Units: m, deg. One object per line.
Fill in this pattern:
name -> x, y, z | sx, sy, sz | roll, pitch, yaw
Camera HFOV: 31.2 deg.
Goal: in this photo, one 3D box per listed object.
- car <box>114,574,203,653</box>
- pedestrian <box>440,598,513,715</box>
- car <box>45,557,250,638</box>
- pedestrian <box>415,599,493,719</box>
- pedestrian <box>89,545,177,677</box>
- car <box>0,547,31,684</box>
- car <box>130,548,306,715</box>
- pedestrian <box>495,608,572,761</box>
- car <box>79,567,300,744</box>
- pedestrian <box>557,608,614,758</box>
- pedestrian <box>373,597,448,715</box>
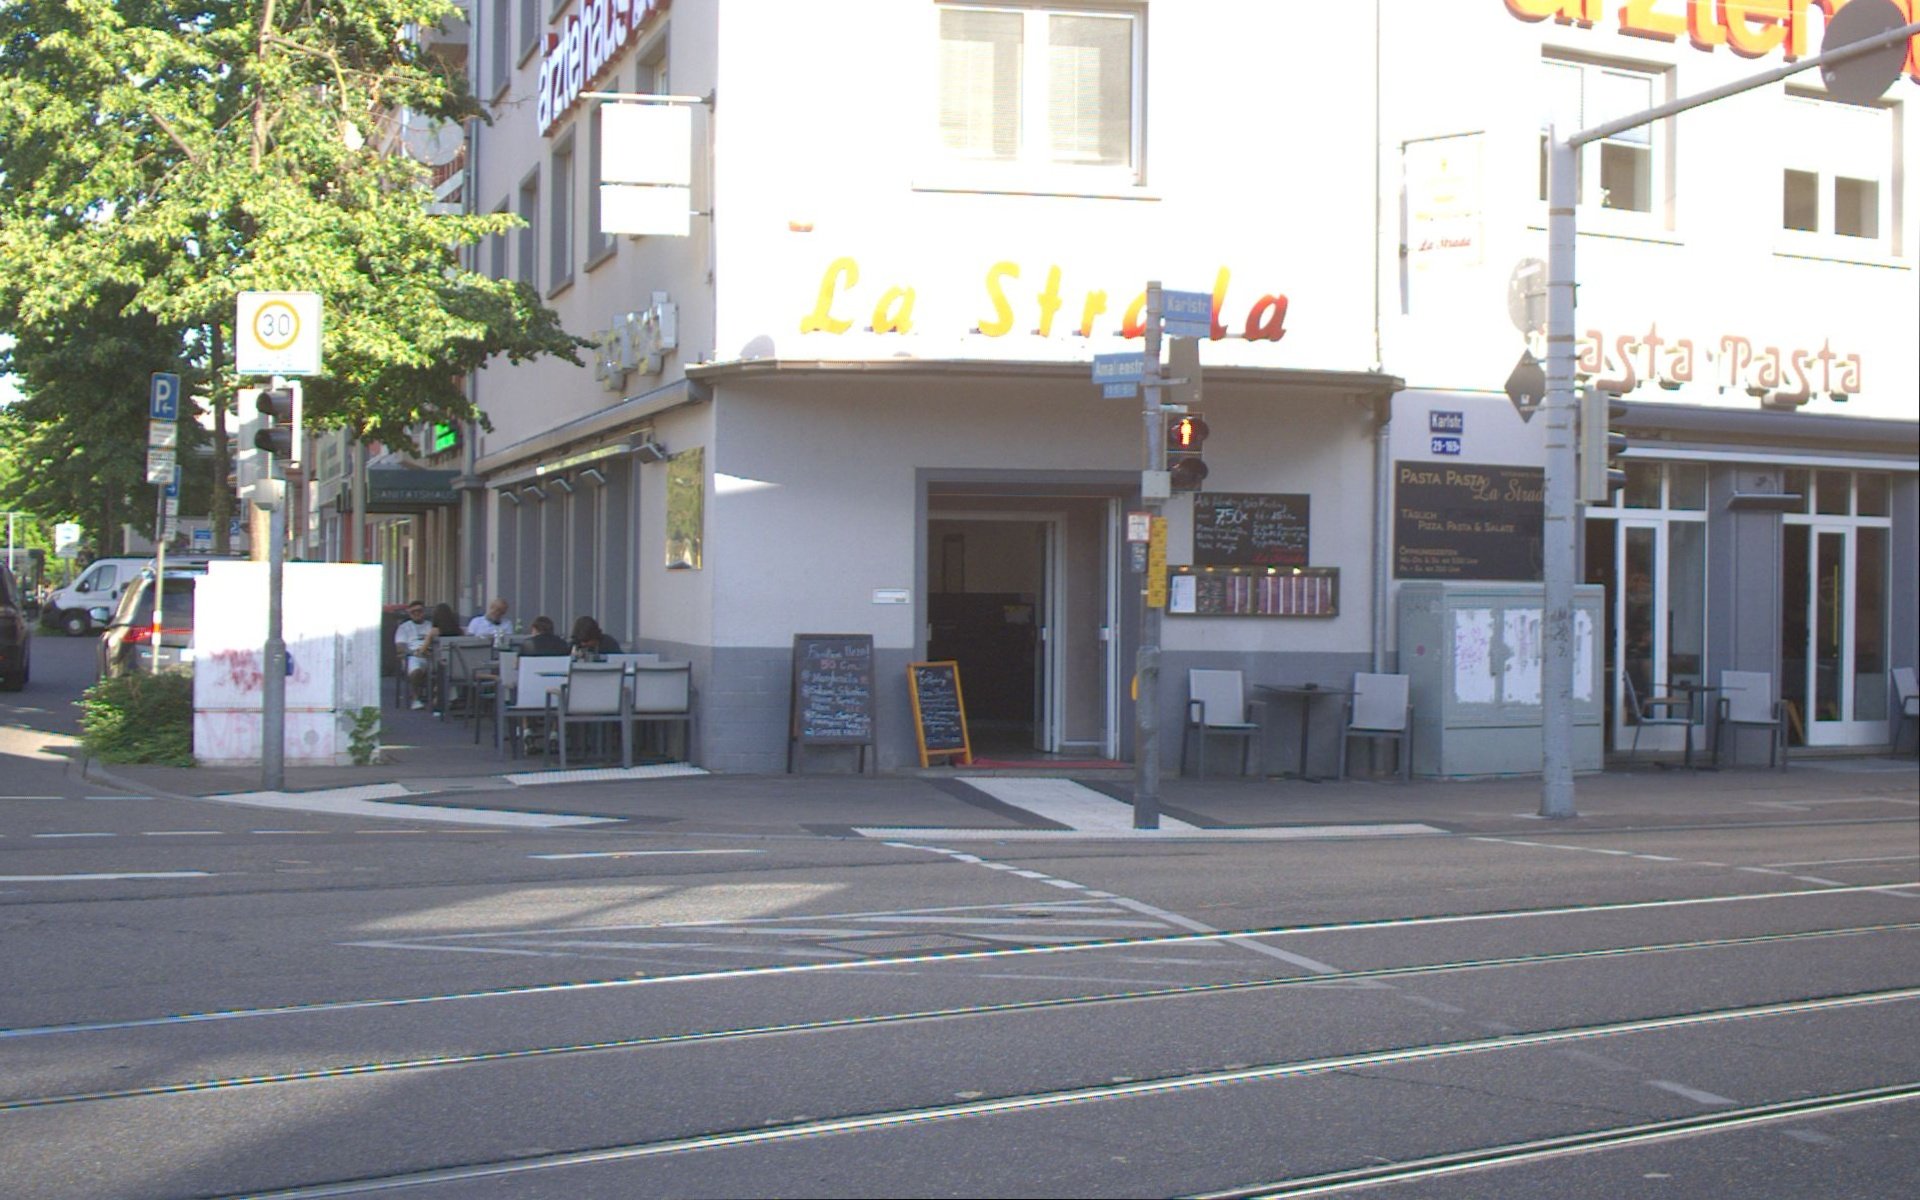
car -> -19.433, 0.309, 83.418 | 1.993, 1.818, 4.001 | 2, 0, -13
pedestrian -> -5.679, 0.655, 40.350 | 0.730, 1.356, 0.959 | 1, 0, -14
car -> -22.363, -0.058, 94.636 | 5.389, 2.138, 2.001 | 1, 0, -14
pedestrian -> -5.754, 0.662, 39.029 | 0.730, 1.343, 1.060 | 1, 0, -16
pedestrian -> -12.147, 0.164, 50.529 | 0.958, 1.909, 1.105 | 1, 0, 3
car -> -13.319, 0.163, 45.284 | 1.903, 1.727, 4.289 | 2, 0, -13
car -> -8.881, 0.347, 40.979 | 1.903, 1.846, 4.289 | 2, 0, -13
pedestrian -> -3.692, 0.727, 29.756 | 0.586, 1.308, 0.560 | 1, 0, -13
car -> -7.782, 0.514, 34.634 | 2.000, 1.631, 4.289 | 2, 0, -13
pedestrian -> -3.335, 0.732, 30.640 | 0.487, 1.318, 0.653 | 1, 0, -6
pedestrian -> -6.404, 0.645, 40.017 | 0.709, 1.343, 1.060 | 1, 0, -17
